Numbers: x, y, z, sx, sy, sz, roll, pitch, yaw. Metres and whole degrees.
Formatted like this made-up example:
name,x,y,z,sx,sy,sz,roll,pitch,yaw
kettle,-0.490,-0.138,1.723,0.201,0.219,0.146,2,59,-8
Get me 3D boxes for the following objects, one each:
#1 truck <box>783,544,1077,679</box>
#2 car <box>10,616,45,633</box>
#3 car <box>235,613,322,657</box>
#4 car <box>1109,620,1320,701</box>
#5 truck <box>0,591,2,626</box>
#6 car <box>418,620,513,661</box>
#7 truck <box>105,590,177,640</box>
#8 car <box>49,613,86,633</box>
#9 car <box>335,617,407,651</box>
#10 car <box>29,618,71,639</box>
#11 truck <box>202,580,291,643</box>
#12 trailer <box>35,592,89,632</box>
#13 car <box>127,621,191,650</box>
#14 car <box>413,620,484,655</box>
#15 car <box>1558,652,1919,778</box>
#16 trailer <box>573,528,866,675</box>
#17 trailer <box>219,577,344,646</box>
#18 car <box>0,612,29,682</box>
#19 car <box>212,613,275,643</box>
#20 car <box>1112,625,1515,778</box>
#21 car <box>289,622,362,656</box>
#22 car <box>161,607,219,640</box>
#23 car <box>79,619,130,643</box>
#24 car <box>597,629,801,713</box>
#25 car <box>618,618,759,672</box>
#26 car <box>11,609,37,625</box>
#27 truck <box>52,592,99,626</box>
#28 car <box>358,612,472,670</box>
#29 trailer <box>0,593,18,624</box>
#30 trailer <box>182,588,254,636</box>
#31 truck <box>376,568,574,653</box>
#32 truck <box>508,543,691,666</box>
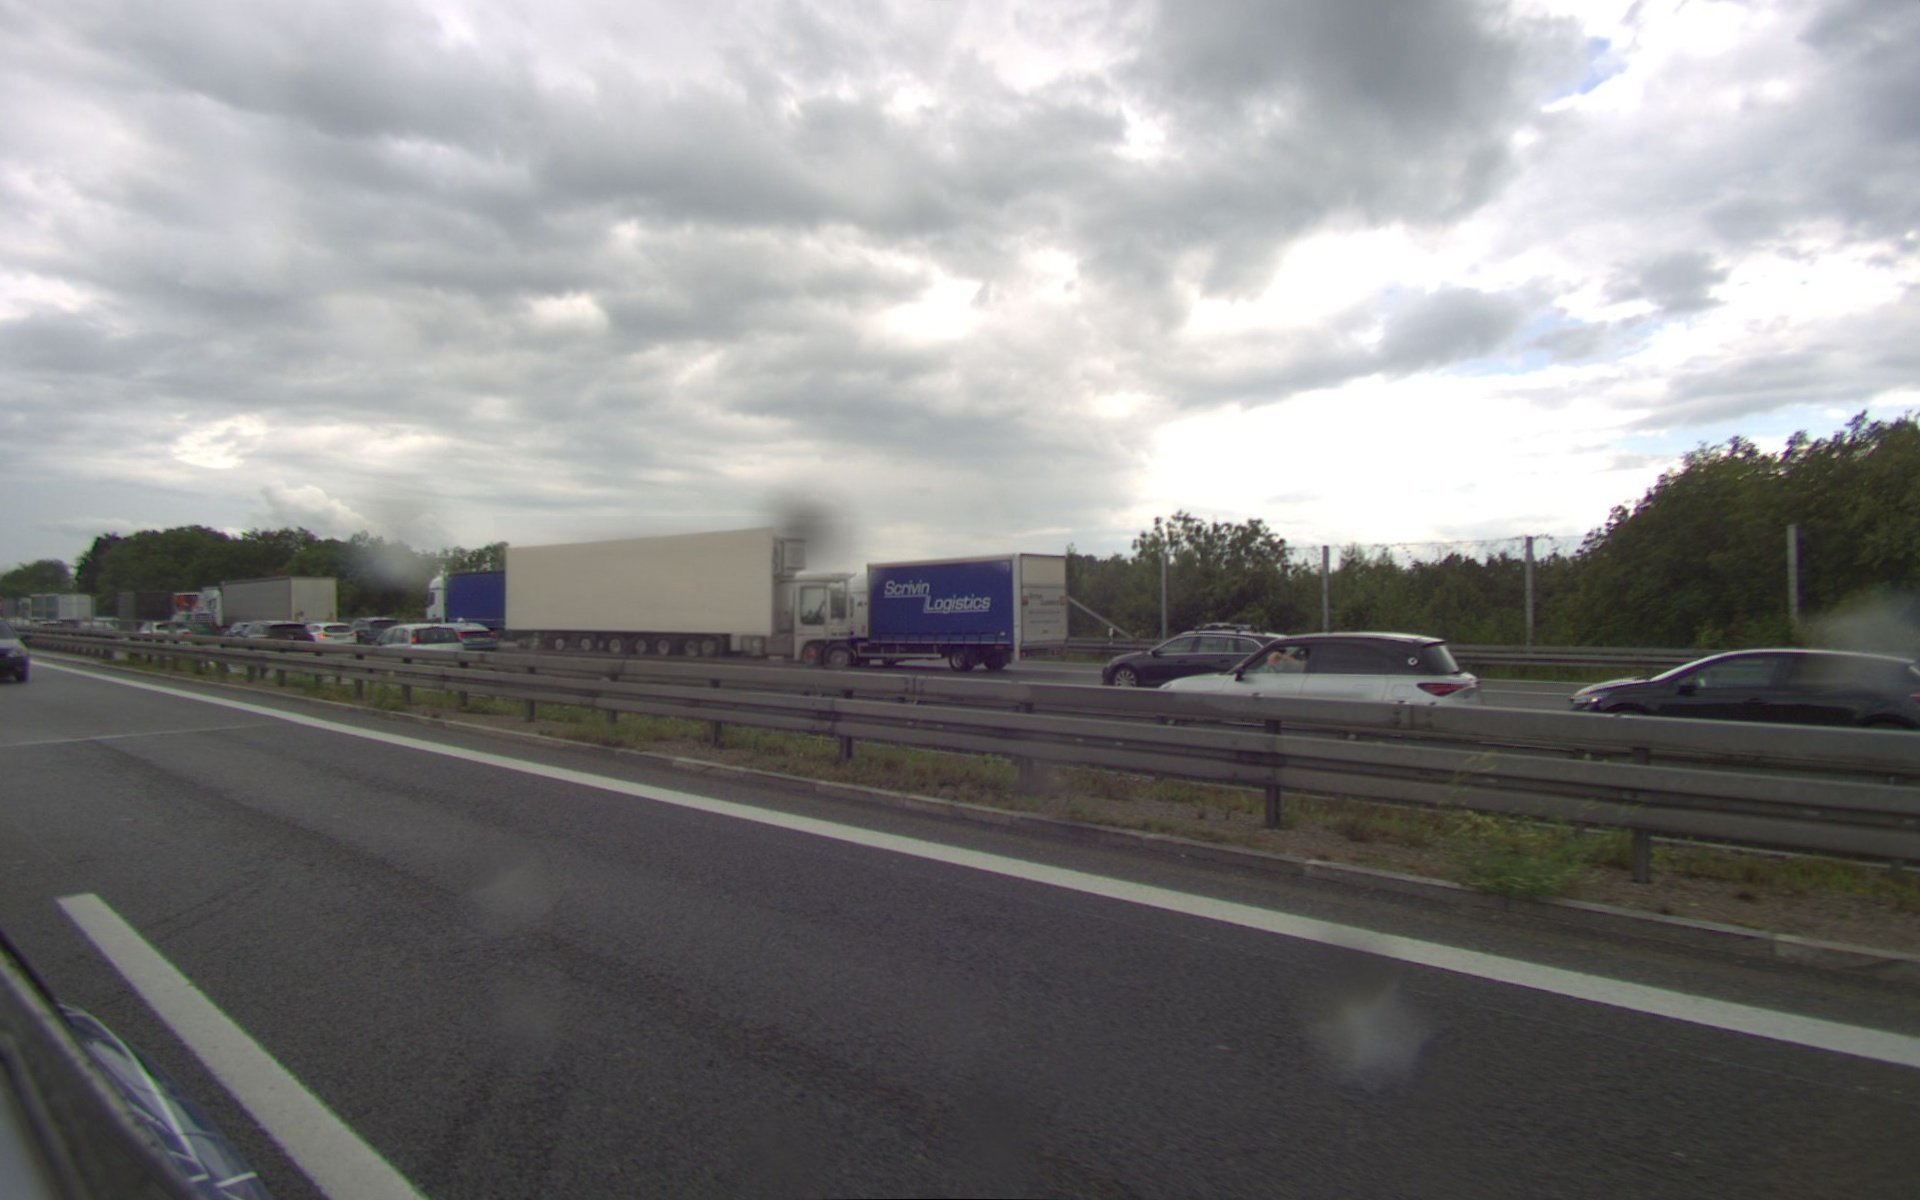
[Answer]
name,x,y,z,sx,sy,sz,roll,pitch,yaw
truck,-1.370,0.421,33.695,10.751,3.869,2.868,-1,-1,41
car,-90.865,2.399,98.550,4.774,1.637,1.747,-1,-1,38
car,-26.656,1.322,39.521,4.281,1.631,1.773,-1,-1,41
car,5.358,1.212,21.645,4.103,1.576,1.628,-1,-1,41
truck,-120.662,0.994,124.292,12.512,4.180,2.954,0,-1,40
car,-19.214,1.525,39.252,4.674,1.514,1.628,-1,-1,41
truck,-58.898,1.052,72.696,8.535,3.425,2.493,-1,-1,41
car,-78.622,1.992,89.125,5.101,1.741,1.702,-1,-1,41
car,-31.455,1.781,53.998,4.572,1.761,1.947,-1,-1,41
car,-64.373,1.996,71.576,3.998,1.364,1.702,-1,-1,41
truck,-47.970,0.728,67.980,7.569,3.963,3.166,0,0,41
trailer,-97.523,1.248,109.824,11.595,4.092,2.789,0,0,41
car,-40.882,1.781,51.596,4.623,1.364,1.702,-1,-1,41
car,-24.313,1.756,48.076,3.998,1.557,1.628,-1,-1,41
car,10.250,1.383,13.030,4.184,1.299,1.686,-1,-1,40
trailer,-8.489,0.124,34.103,11.947,4.226,3.154,-1,-1,40
trailer,-42.758,0.685,63.493,13.008,3.963,3.210,0,0,41
car,-21.676,0.978,21.936,5.015,1.418,1.758,-1,0,42
car,-40.310,1.541,56.924,4.695,1.636,1.802,0,-1,41
car,4.537,1.175,13.450,4.718,1.660,1.853,-1,-1,40
car,-30.396,1.826,48.399,4.857,1.522,1.628,-1,-1,41
car,-49.659,1.494,65.221,5.672,2.068,1.802,0,-1,41
car,-51.832,1.860,61.290,4.532,1.364,1.702,-1,-1,41
car,-5.376,1.345,20.446,4.727,1.451,1.628,-1,-1,41
car,-7.767,1.220,28.675,4.541,1.418,1.628,-1,-1,41
car,-115.396,2.056,124.735,3.999,1.844,1.972,0,0,42
truck,-109.499,1.128,125.250,11.686,4.012,2.692,-1,-1,41
car,-16.491,1.180,30.558,3.998,1.631,1.773,-1,-1,41
trailer,-135.437,1.181,142.379,13.022,4.177,2.850,0,-1,41
trailer,-65.222,1.004,88.901,8.845,3.989,3.186,0,0,41
truck,-26.800,0.614,54.985,17.732,4.052,2.621,-1,-1,40
truck,-13.894,0.212,38.662,7.732,4.226,3.145,-1,-1,40
